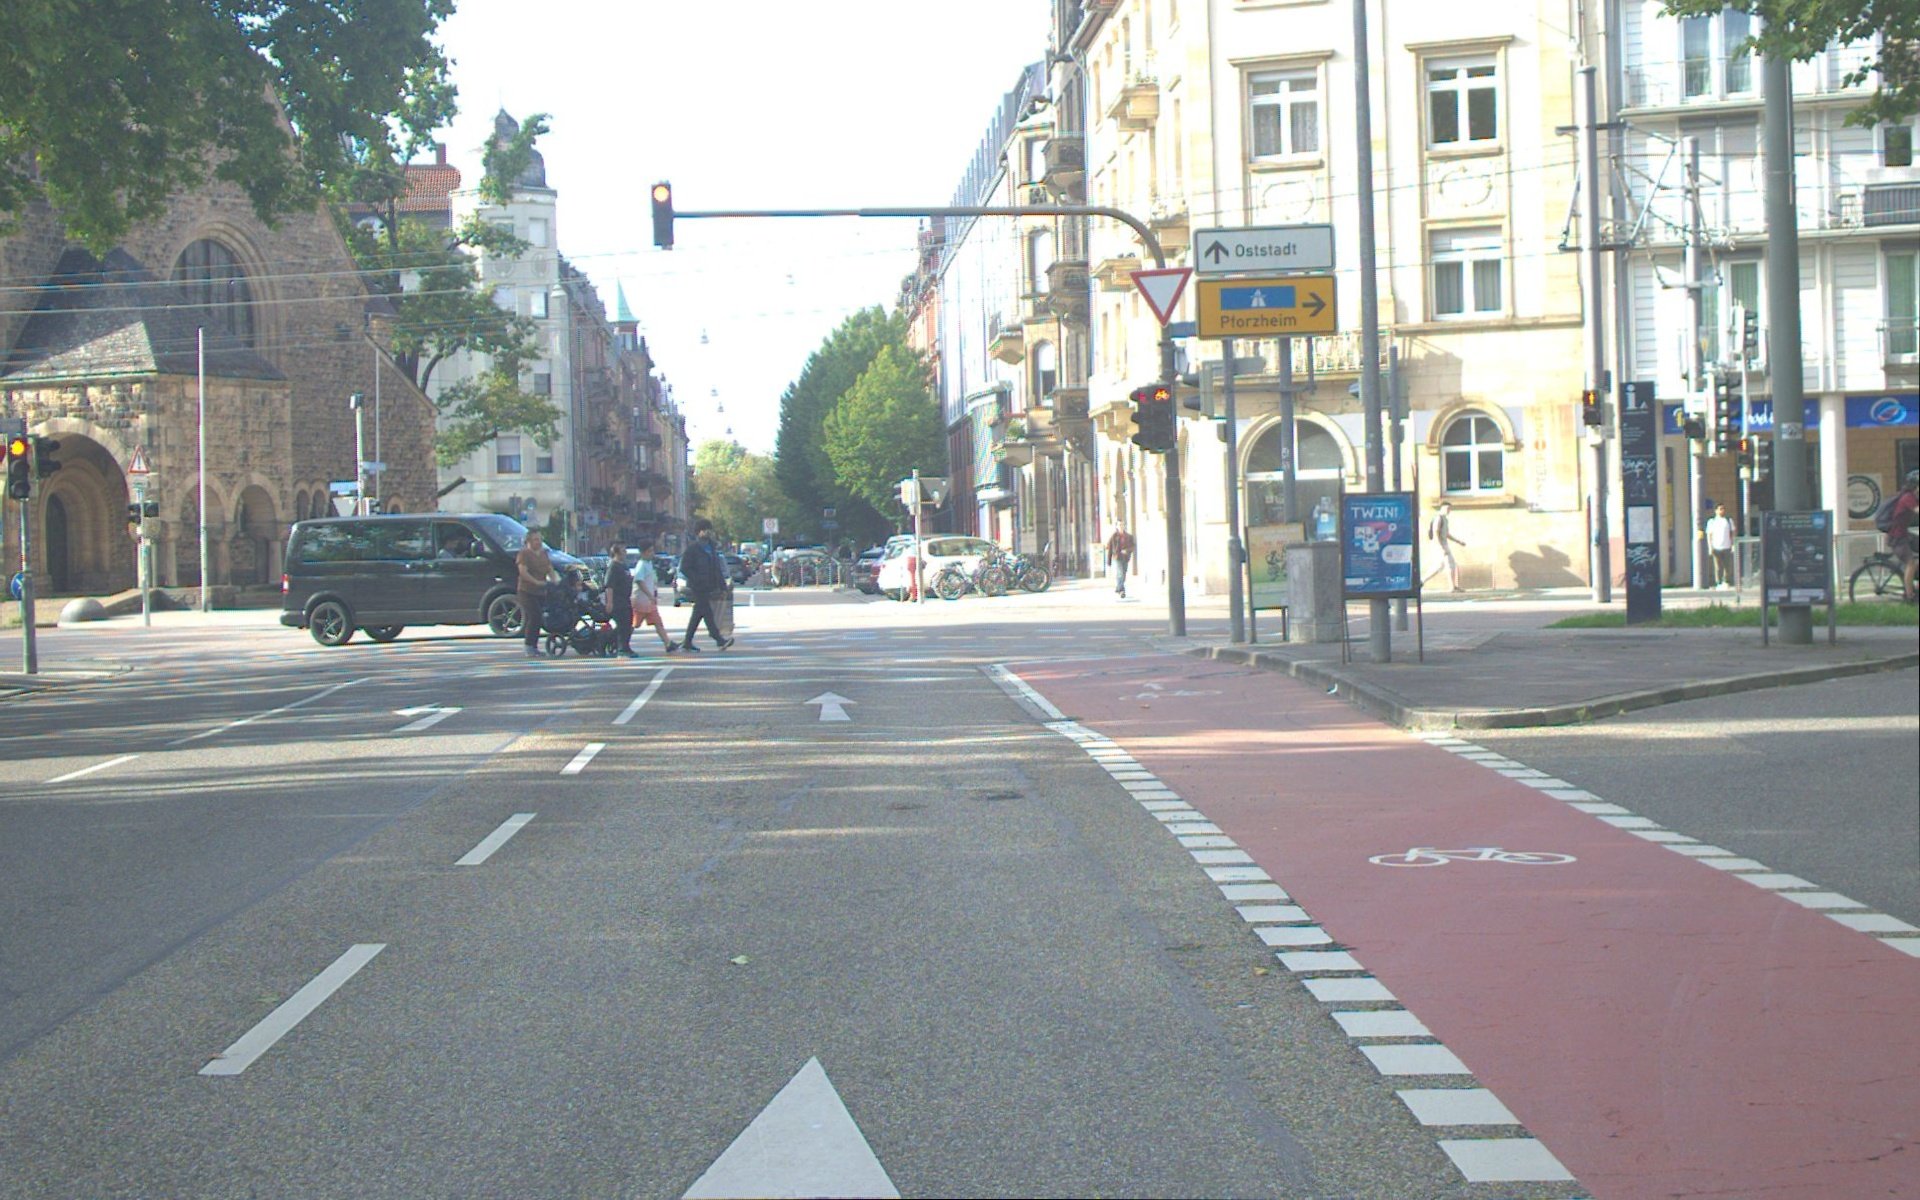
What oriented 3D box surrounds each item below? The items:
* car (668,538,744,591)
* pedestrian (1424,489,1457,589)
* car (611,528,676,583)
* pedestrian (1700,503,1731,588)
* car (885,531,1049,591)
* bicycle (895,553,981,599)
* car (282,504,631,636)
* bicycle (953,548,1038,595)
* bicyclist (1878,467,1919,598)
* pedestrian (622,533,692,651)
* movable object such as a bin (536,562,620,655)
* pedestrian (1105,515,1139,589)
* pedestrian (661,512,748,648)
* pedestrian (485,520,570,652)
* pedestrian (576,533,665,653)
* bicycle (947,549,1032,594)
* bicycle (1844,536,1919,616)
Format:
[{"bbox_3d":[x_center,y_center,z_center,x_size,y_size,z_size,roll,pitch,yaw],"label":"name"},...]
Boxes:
[{"bbox_3d":[-7.062,-0.998,95.932,1.949,1.367,4.001,-2,2,-2],"label":"car"},{"bbox_3d":[10.075,-1.284,72.056,0.526,2.086,0.496,1,1,24],"label":"pedestrian"},{"bbox_3d":[-10.662,-1.515,115.875,1.949,1.744,4.001,-2,1,-2],"label":"car"},{"bbox_3d":[15.257,-1.101,69.460,0.496,1.708,0.526,1,1,22],"label":"pedestrian"},{"bbox_3d":[0.165,-1.005,88.019,3.986,1.415,2.000,-2,1,-5],"label":"car"},{"bbox_3d":[-0.552,-0.594,85.583,2.022,1.078,0.620,-2,2,-12],"label":"bicycle"},{"bbox_3d":[-7.692,-0.463,52.602,4.847,1.864,2.030,-1,1,18],"label":"car"},{"bbox_3d":[0.887,-0.713,85.697,2.022,1.078,0.620,-2,2,-12],"label":"bicycle"},{"bbox_3d":[11.632,-0.824,41.826,0.779,1.574,0.625,-1,1,23],"label":"bicyclist"},{"bbox_3d":[-3.711,-0.099,42.108,0.656,1.427,0.498,-1,1,21],"label":"pedestrian"},{"bbox_3d":[-4.740,0.101,42.713,0.838,1.120,0.575,-1,1,21],"label":"movable object such as a bin"},{"bbox_3d":[3.581,-1.065,76.015,0.562,1.618,0.600,-1,1,19],"label":"pedestrian"},{"bbox_3d":[-3.175,-0.254,42.826,0.782,1.656,0.778,-1,1,21],"label":"pedestrian"},{"bbox_3d":[-5.402,-0.180,42.923,0.815,1.623,0.604,-1,1,22],"label":"pedestrian"},{"bbox_3d":[-4.105,-0.087,41.588,0.782,1.427,0.730,-1,1,21],"label":"pedestrian"},{"bbox_3d":[0.748,-0.723,86.365,2.022,1.078,0.631,-2,2,-12],"label":"bicycle"},{"bbox_3d":[11.732,-0.300,41.791,1.832,0.952,0.572,-1,1,24],"label":"bicycle"}]
